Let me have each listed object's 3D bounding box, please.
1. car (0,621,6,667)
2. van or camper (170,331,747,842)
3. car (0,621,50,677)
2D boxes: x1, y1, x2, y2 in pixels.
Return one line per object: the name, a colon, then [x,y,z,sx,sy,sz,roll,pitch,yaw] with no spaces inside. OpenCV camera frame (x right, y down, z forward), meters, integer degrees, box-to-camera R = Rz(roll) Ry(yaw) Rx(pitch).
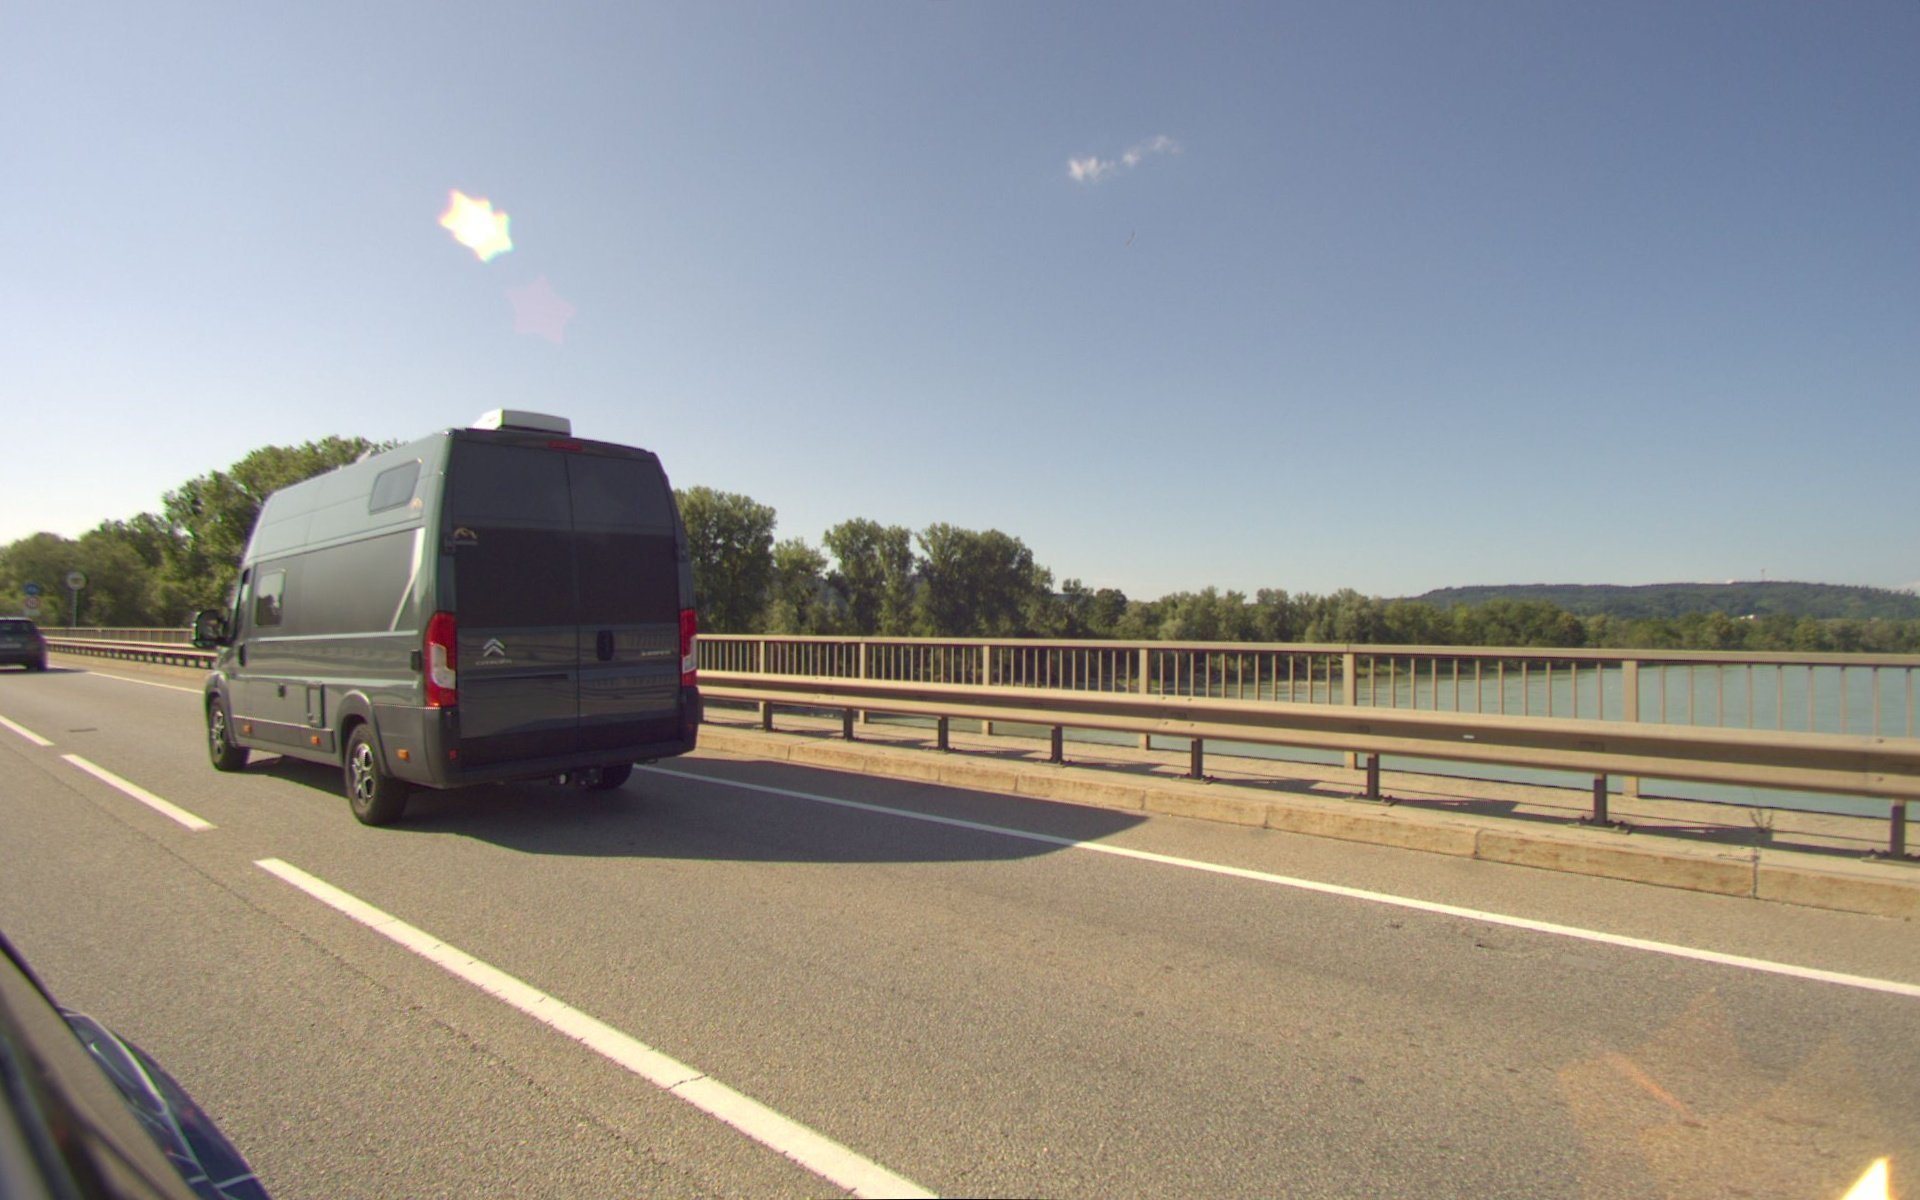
car: [-35.840,1.586,36.541,4.201,1.589,1.787,-1,-1,43]
van or camper: [-4.965,-0.023,9.213,6.814,3.074,2.291,-1,-1,41]
car: [-28.886,1.434,30.357,4.272,1.596,1.855,-1,-1,41]
